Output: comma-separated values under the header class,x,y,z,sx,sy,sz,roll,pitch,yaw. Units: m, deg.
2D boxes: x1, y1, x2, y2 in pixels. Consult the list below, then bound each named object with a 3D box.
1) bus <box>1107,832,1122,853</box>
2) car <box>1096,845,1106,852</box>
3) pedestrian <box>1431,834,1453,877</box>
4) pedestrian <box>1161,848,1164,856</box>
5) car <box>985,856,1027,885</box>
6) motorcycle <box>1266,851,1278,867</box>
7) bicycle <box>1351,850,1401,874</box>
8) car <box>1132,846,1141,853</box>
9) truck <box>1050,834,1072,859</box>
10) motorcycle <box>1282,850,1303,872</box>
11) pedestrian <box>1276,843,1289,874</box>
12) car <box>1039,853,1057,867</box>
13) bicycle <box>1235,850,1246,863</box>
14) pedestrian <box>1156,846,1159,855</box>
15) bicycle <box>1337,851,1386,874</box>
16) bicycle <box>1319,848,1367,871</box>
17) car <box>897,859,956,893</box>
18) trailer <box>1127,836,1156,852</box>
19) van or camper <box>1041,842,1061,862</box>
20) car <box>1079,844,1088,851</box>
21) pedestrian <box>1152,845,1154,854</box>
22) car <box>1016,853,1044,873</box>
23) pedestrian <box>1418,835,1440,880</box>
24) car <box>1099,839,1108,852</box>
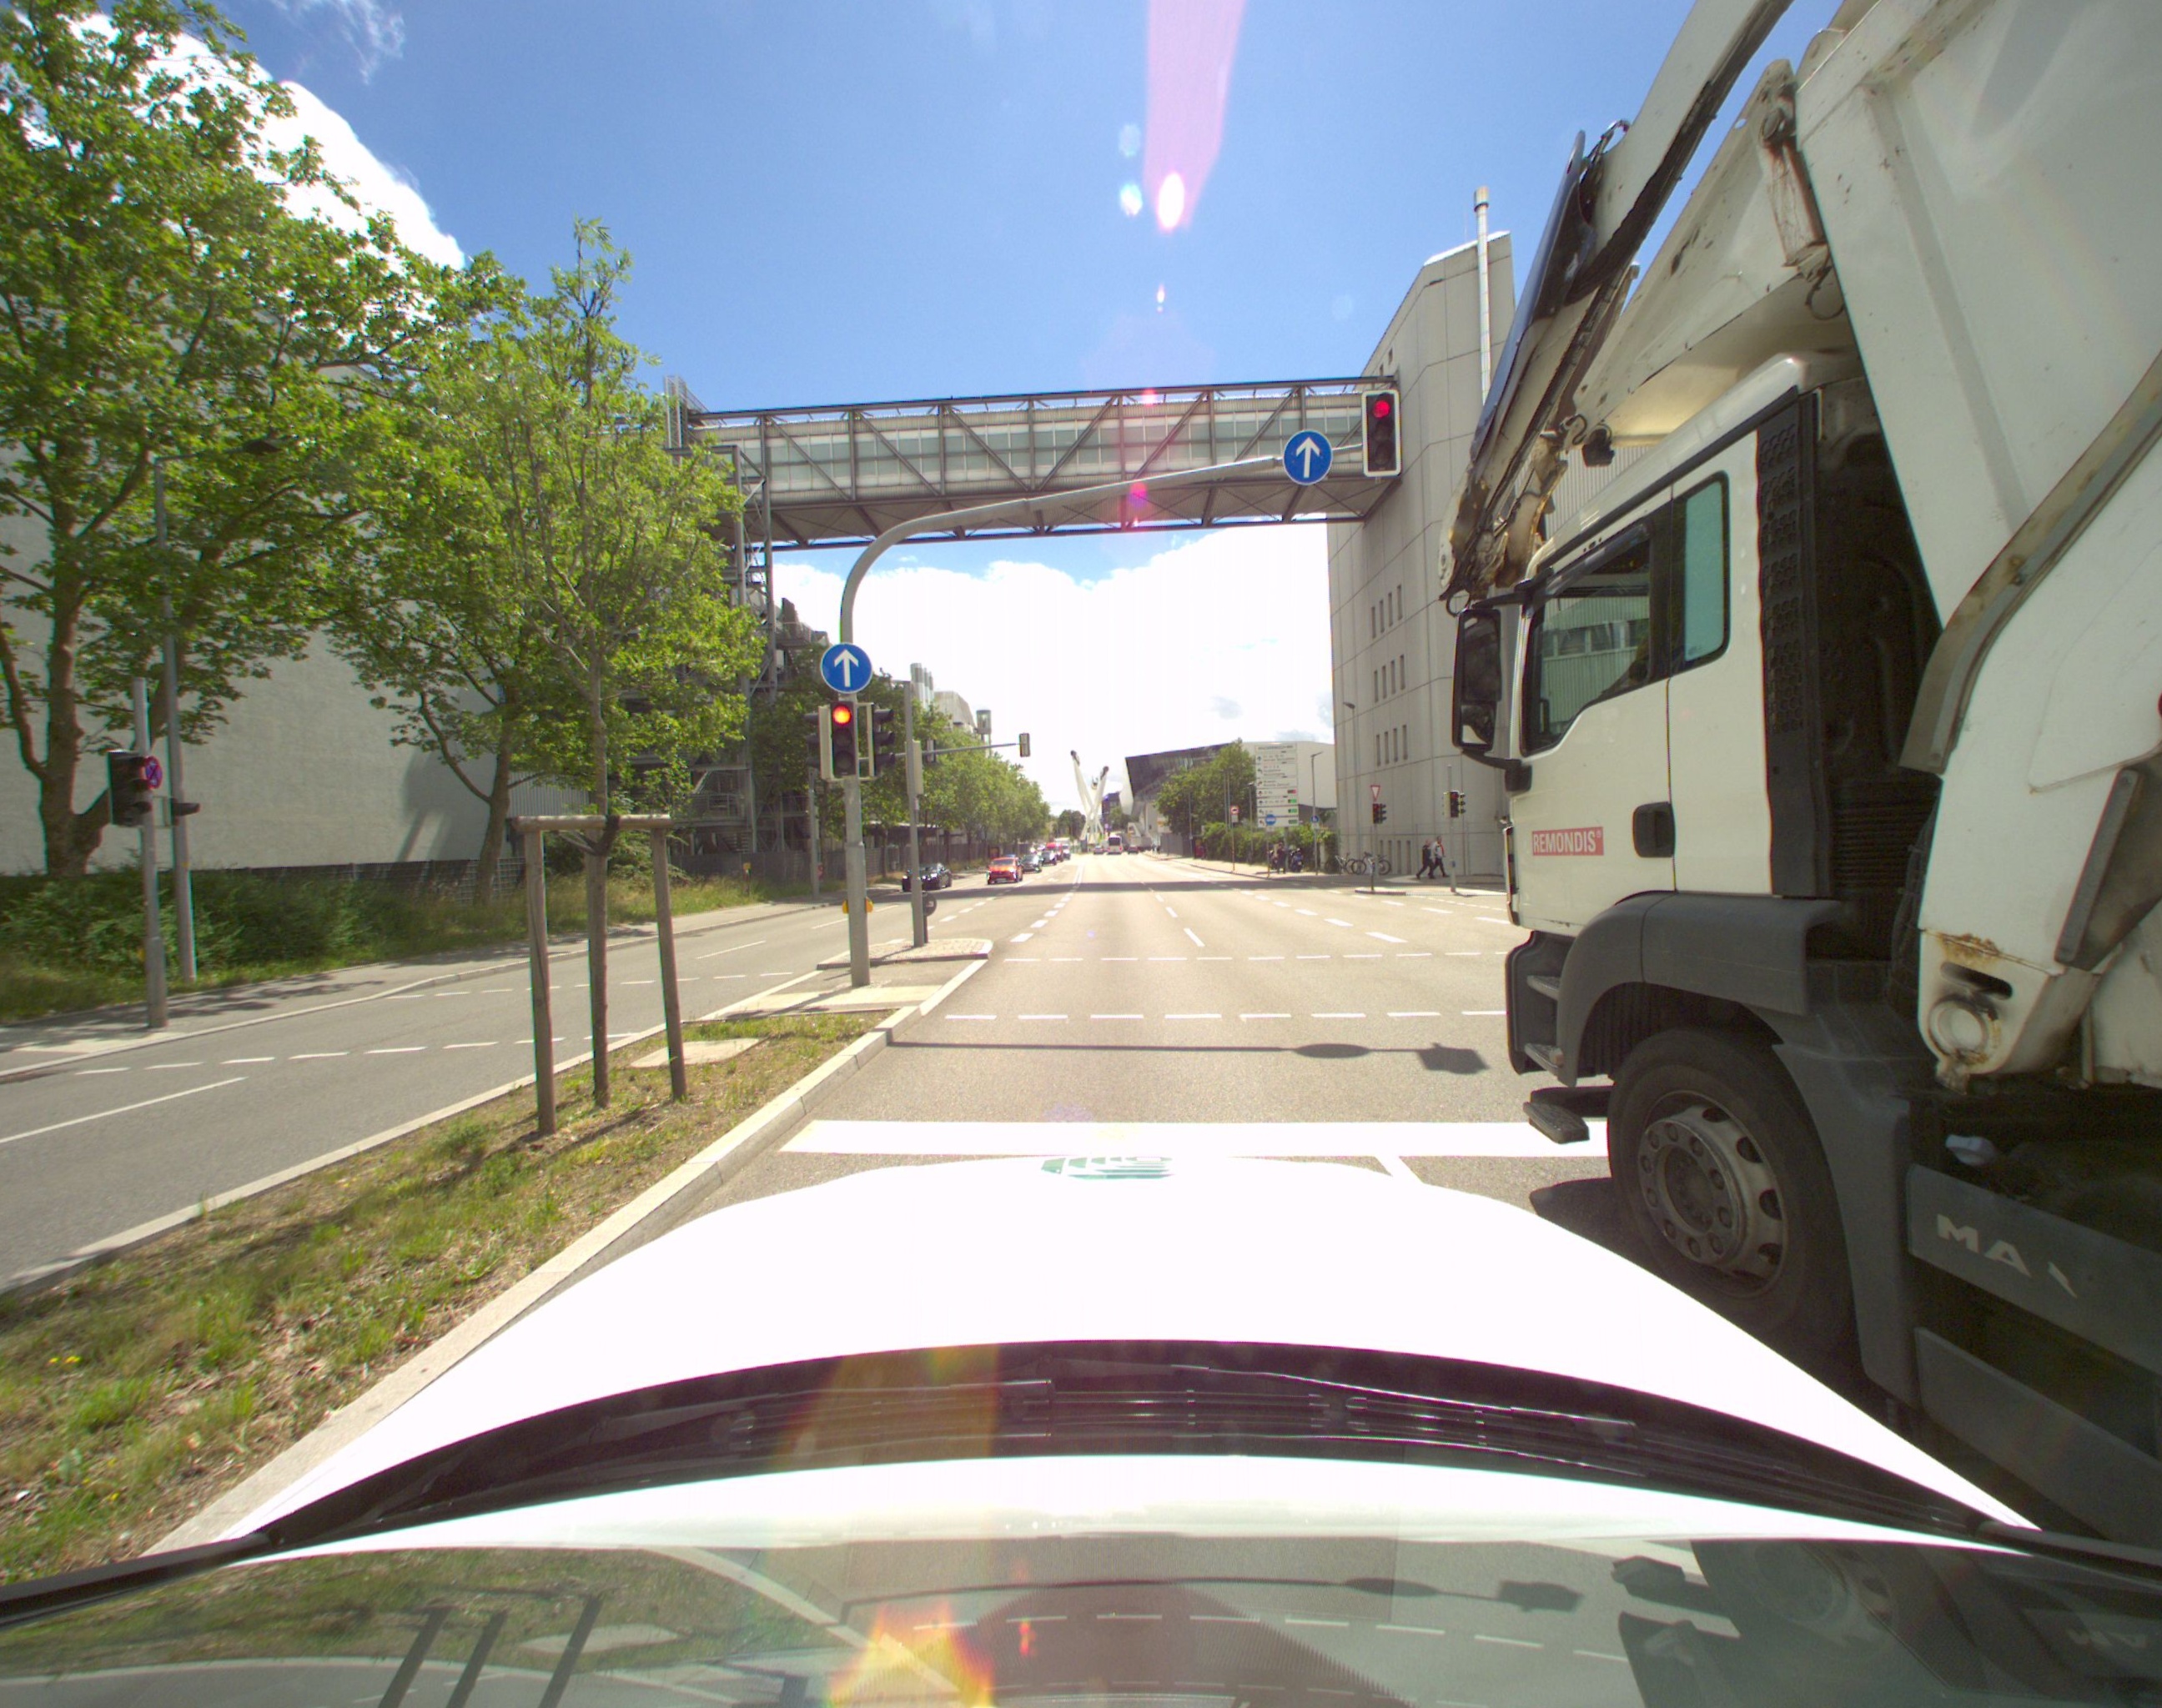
class,x,y,z,sx,sy,sz,roll,pitch,yaw
bus,6.214,-2.049,150.263,2.776,3.686,6.947,0,-1,3
car,3.621,-0.977,148.901,1.551,1.273,3.704,-4,0,3
pedestrian,15.351,0.060,34.638,0.704,1.793,0.697,-4,0,18
pedestrian,13.378,-0.311,133.291,0.384,1.421,0.424,0,-1,2
car,-4.217,0.901,46.369,1.762,1.420,3.704,-4,0,3
motorcycle,12.173,0.336,51.880,0.455,1.022,1.914,0,-1,4
bicycle,13.920,0.390,38.460,2.166,1.086,0.480,-1,-1,37
car,9.917,-0.810,146.252,1.551,1.273,3.704,-4,0,3
truck,-2.845,-1.004,115.951,2.581,3.324,7.083,0,-1,3
motorcycle,11.649,0.396,44.903,0.418,1.166,1.951,0,-1,-9
pedestrian,10.951,0.246,44.247,0.532,1.640,0.657,0,-1,-4
car,-3.618,0.654,88.927,1.551,1.448,3.775,-4,0,3
bicycle,12.724,0.172,65.138,0.417,1.022,1.911,0,-1,-2
pedestrian,12.551,-0.520,133.311,0.384,1.421,0.424,0,-1,2
bicycle,13.549,0.401,39.413,2.196,1.086,0.480,-1,-1,37
bicycle,13.082,0.277,40.713,2.196,1.086,0.480,-1,-1,37
car,-8.126,1.117,43.290,1.910,1.488,4.775,-4,0,3
trailer,12.817,-2.083,172.081,3.291,2.995,10.429,-1,-1,21
van or camper,-3.759,-0.250,103.885,2.038,2.466,5.598,-1,0,3
car,0.539,-1.231,156.084,1.551,1.273,3.704,-4,0,3
pedestrian,12.081,-0.754,136.436,0.384,1.421,0.424,0,-1,2
car,-4.032,0.726,65.450,1.762,1.420,3.704,-4,0,3
pedestrian,14.541,0.132,34.016,0.704,1.793,0.646,-4,0,20
car,4.811,-1.756,171.376,1.837,2.624,4.001,0,-1,2
